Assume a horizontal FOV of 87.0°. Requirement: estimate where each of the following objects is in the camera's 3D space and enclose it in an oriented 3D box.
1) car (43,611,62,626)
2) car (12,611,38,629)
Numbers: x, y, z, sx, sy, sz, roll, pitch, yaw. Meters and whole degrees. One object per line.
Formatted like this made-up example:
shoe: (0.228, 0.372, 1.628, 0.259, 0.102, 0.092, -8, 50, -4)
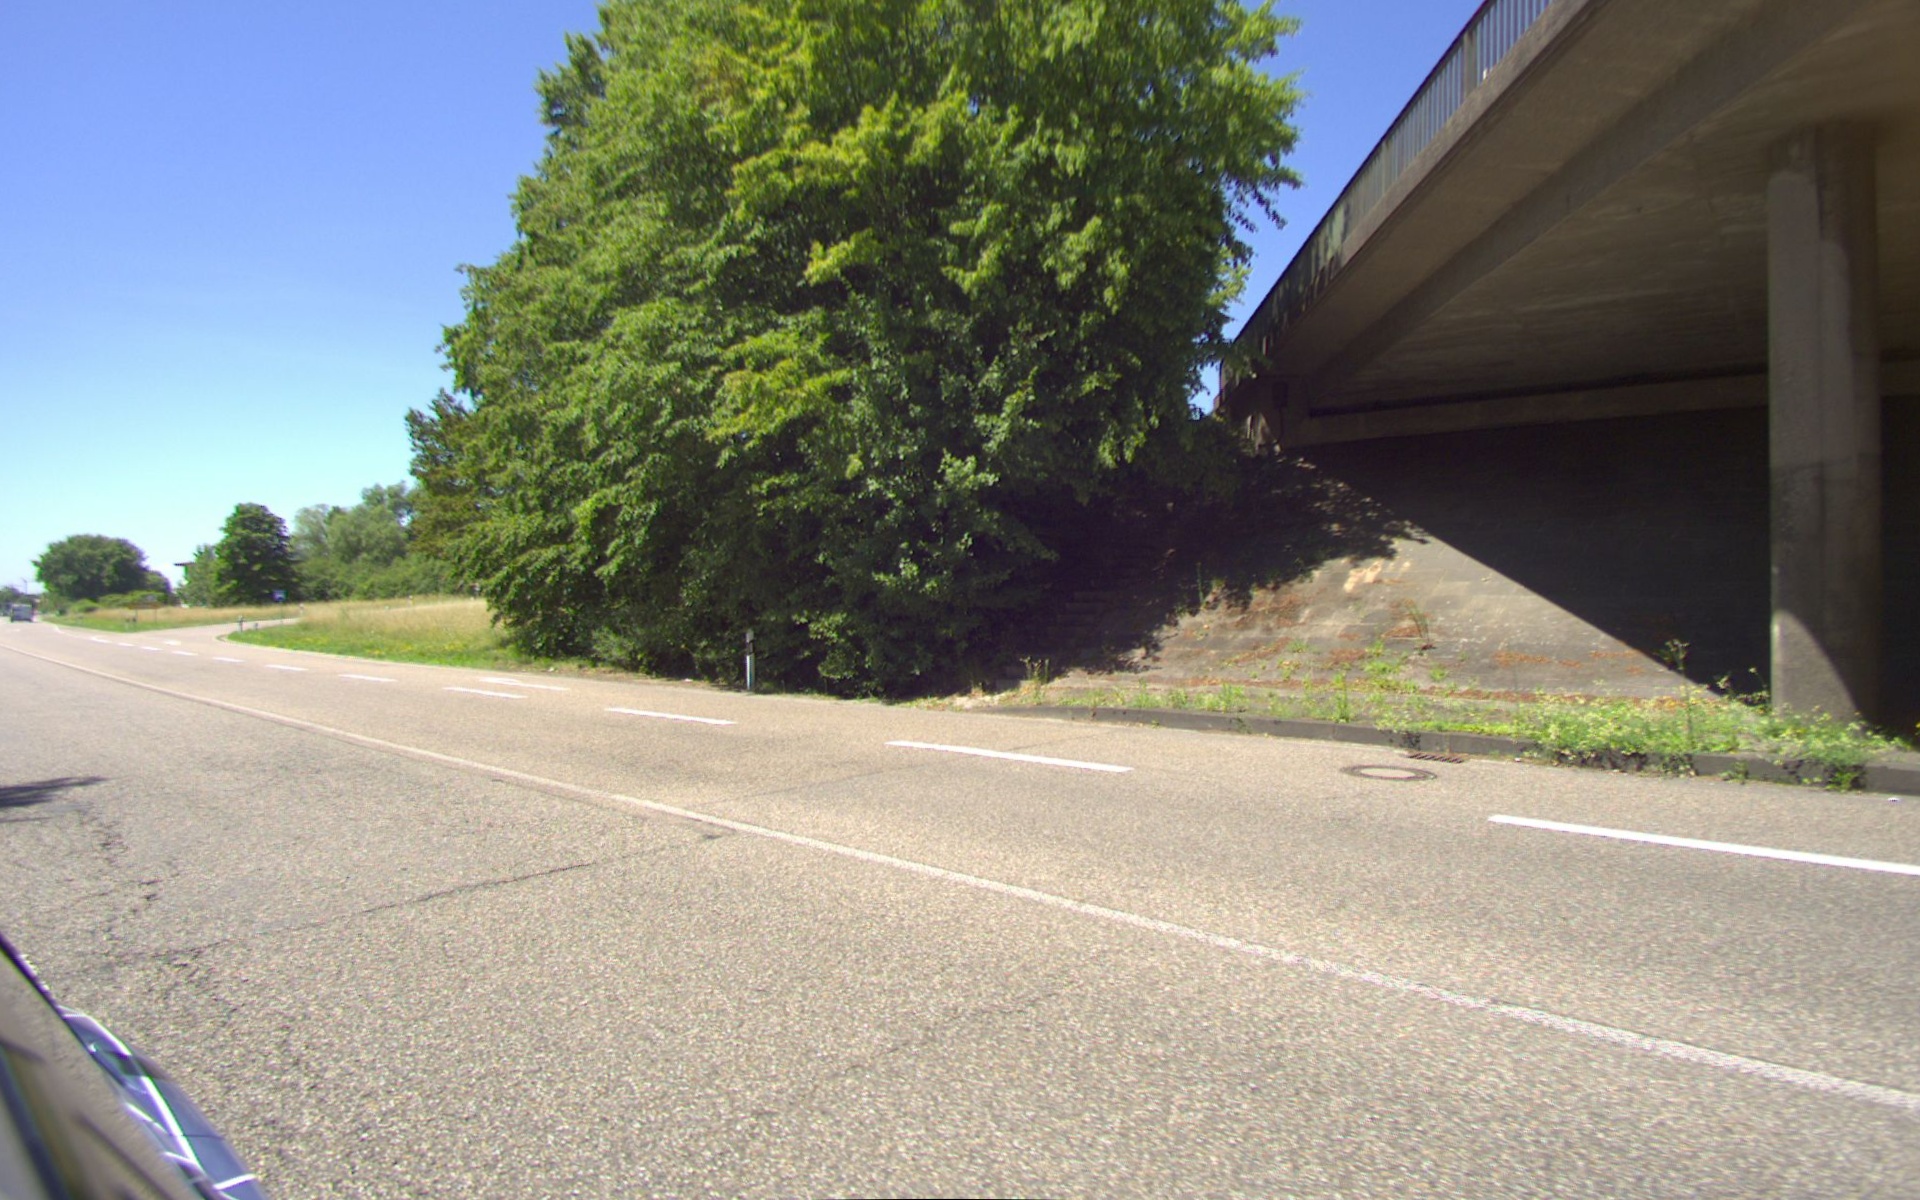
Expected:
car: (-126.980, 2.588, 141.662, 1.819, 2.029, 4.003, 0, -1, -44)
car: (-104.366, 2.175, 113.006, 1.969, 1.978, 4.006, 0, -1, -41)
